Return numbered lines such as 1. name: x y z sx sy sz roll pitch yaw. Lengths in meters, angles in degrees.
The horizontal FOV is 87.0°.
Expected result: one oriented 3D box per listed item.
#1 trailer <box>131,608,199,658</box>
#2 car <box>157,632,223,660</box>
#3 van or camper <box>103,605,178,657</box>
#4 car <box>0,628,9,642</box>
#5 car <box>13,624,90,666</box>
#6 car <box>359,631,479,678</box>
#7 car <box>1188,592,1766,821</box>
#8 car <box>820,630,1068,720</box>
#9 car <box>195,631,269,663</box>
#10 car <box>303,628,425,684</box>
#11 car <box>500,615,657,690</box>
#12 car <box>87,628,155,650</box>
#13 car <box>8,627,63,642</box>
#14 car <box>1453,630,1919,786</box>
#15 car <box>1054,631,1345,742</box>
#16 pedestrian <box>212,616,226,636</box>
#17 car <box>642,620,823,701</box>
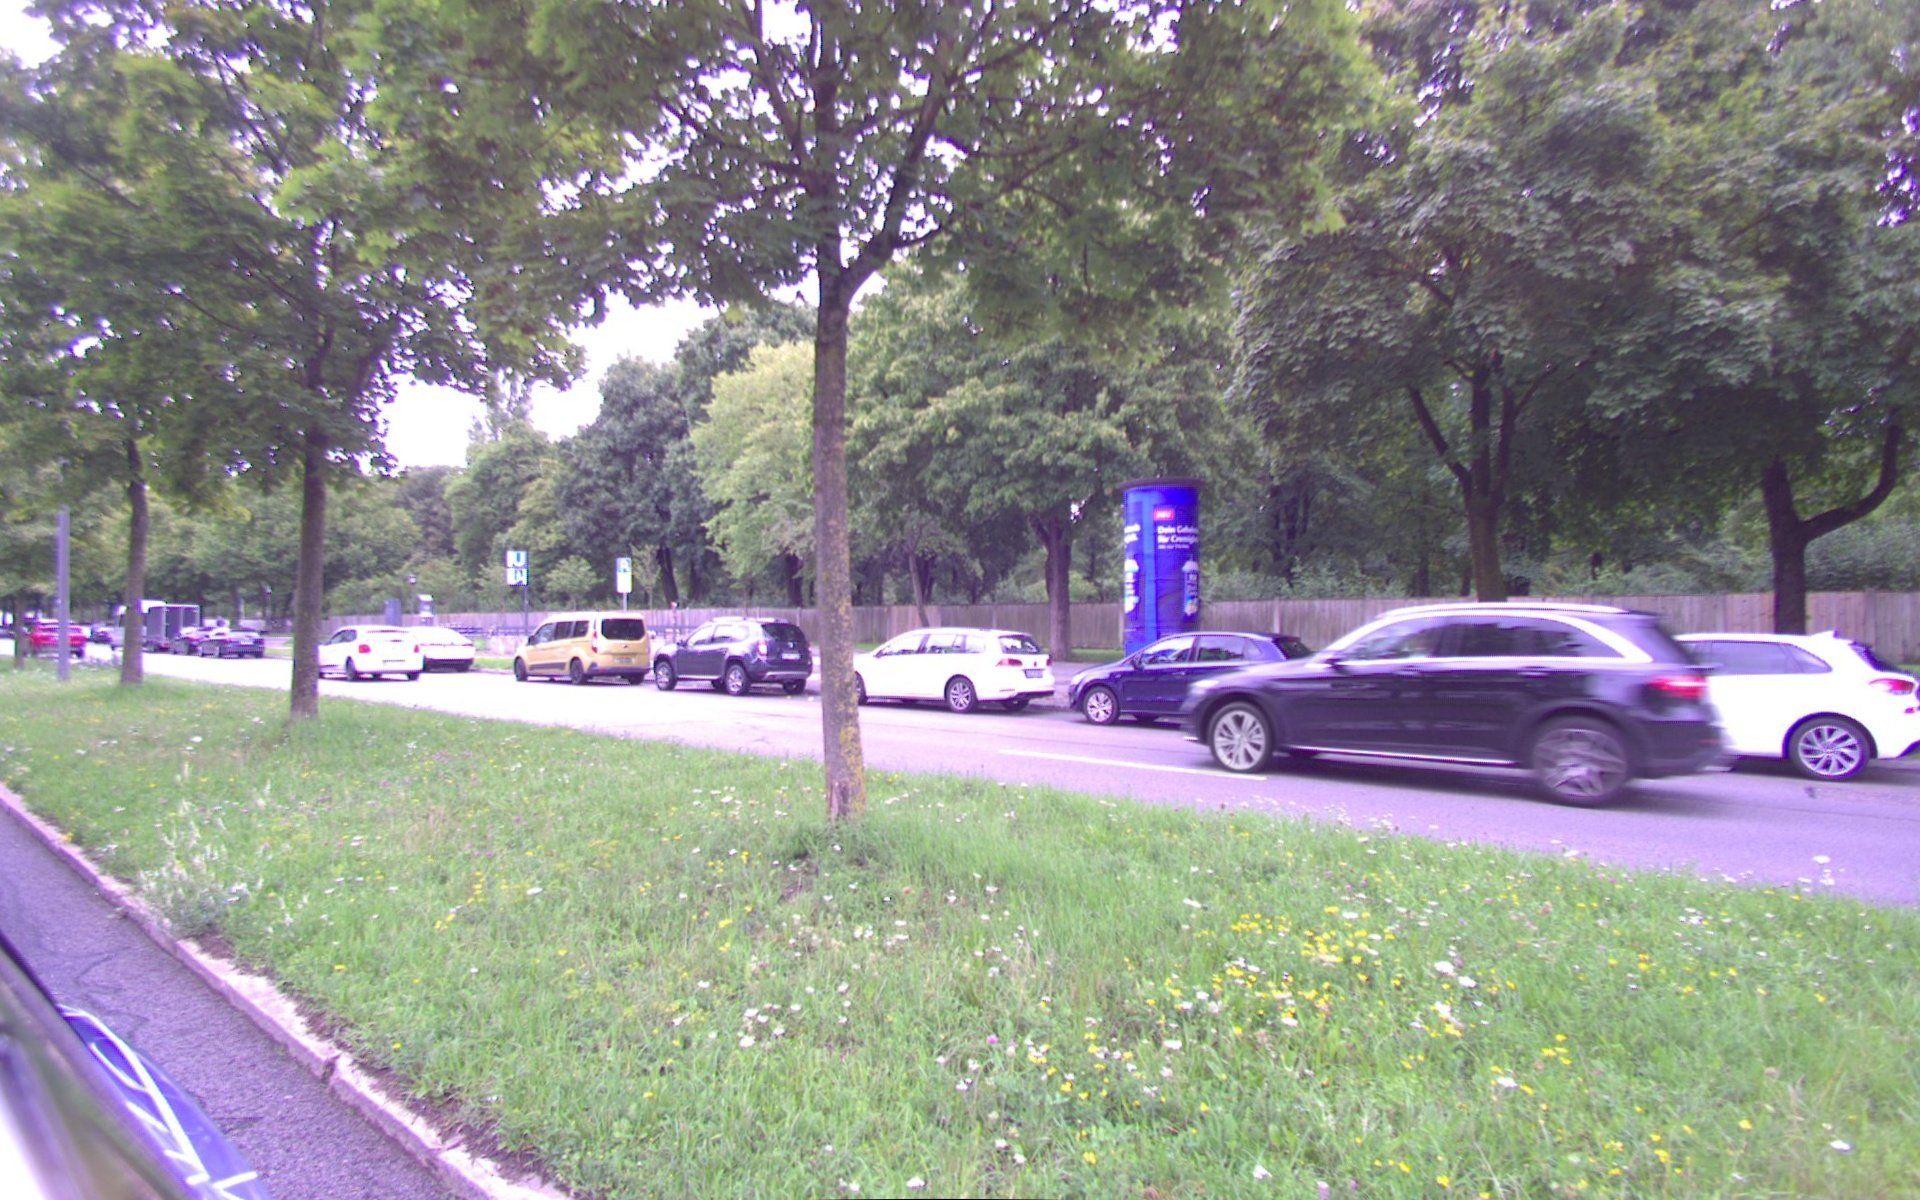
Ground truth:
1. trailer: -43.404 1.819 55.232 4.655 2.610 1.996 -2 -3 41
2. car: -38.988 2.316 51.231 4.235 1.394 1.781 -2 -3 41
3. van or camper: -48.034 1.826 59.248 7.541 2.859 2.014 -2 -3 41
4. car: -107.825 3.909 113.304 4.170 1.454 1.864 -1 0 45
5. car: -38.914 1.899 43.318 4.243 1.709 1.884 -1 -3 41
6. car: -18.141 1.786 33.861 4.871 1.484 1.838 -2 -3 40
7. car: 4.564 0.837 9.386 4.503 1.636 1.748 -1 -3 40
8. car: -0.380 1.295 18.545 4.529 1.461 1.744 -2 -3 40
9. car: -33.902 2.157 47.072 4.428 1.436 1.781 -2 -3 41
10. car: -15.860 1.463 26.869 3.834 1.385 1.602 -1 -3 40
11. car: -10.080 1.346 26.568 4.815 1.796 1.795 -2 -3 42
12. car: -65.438 2.993 79.044 1.779 1.497 3.993 -2 0 6
13. car: -93.629 3.437 102.576 1.574 1.376 3.988 -1 0 10
14. car: 8.031 1.080 11.315 4.276 1.455 1.590 -2 -3 41
15. car: 3.456 1.187 14.966 3.892 1.428 1.597 -1 -3 38
16. pedestrian: -66.393 2.342 90.732 0.872 1.781 0.761 -1 -2 37
17. car: -5.160 1.306 22.682 4.252 1.658 1.719 -2 -3 40
